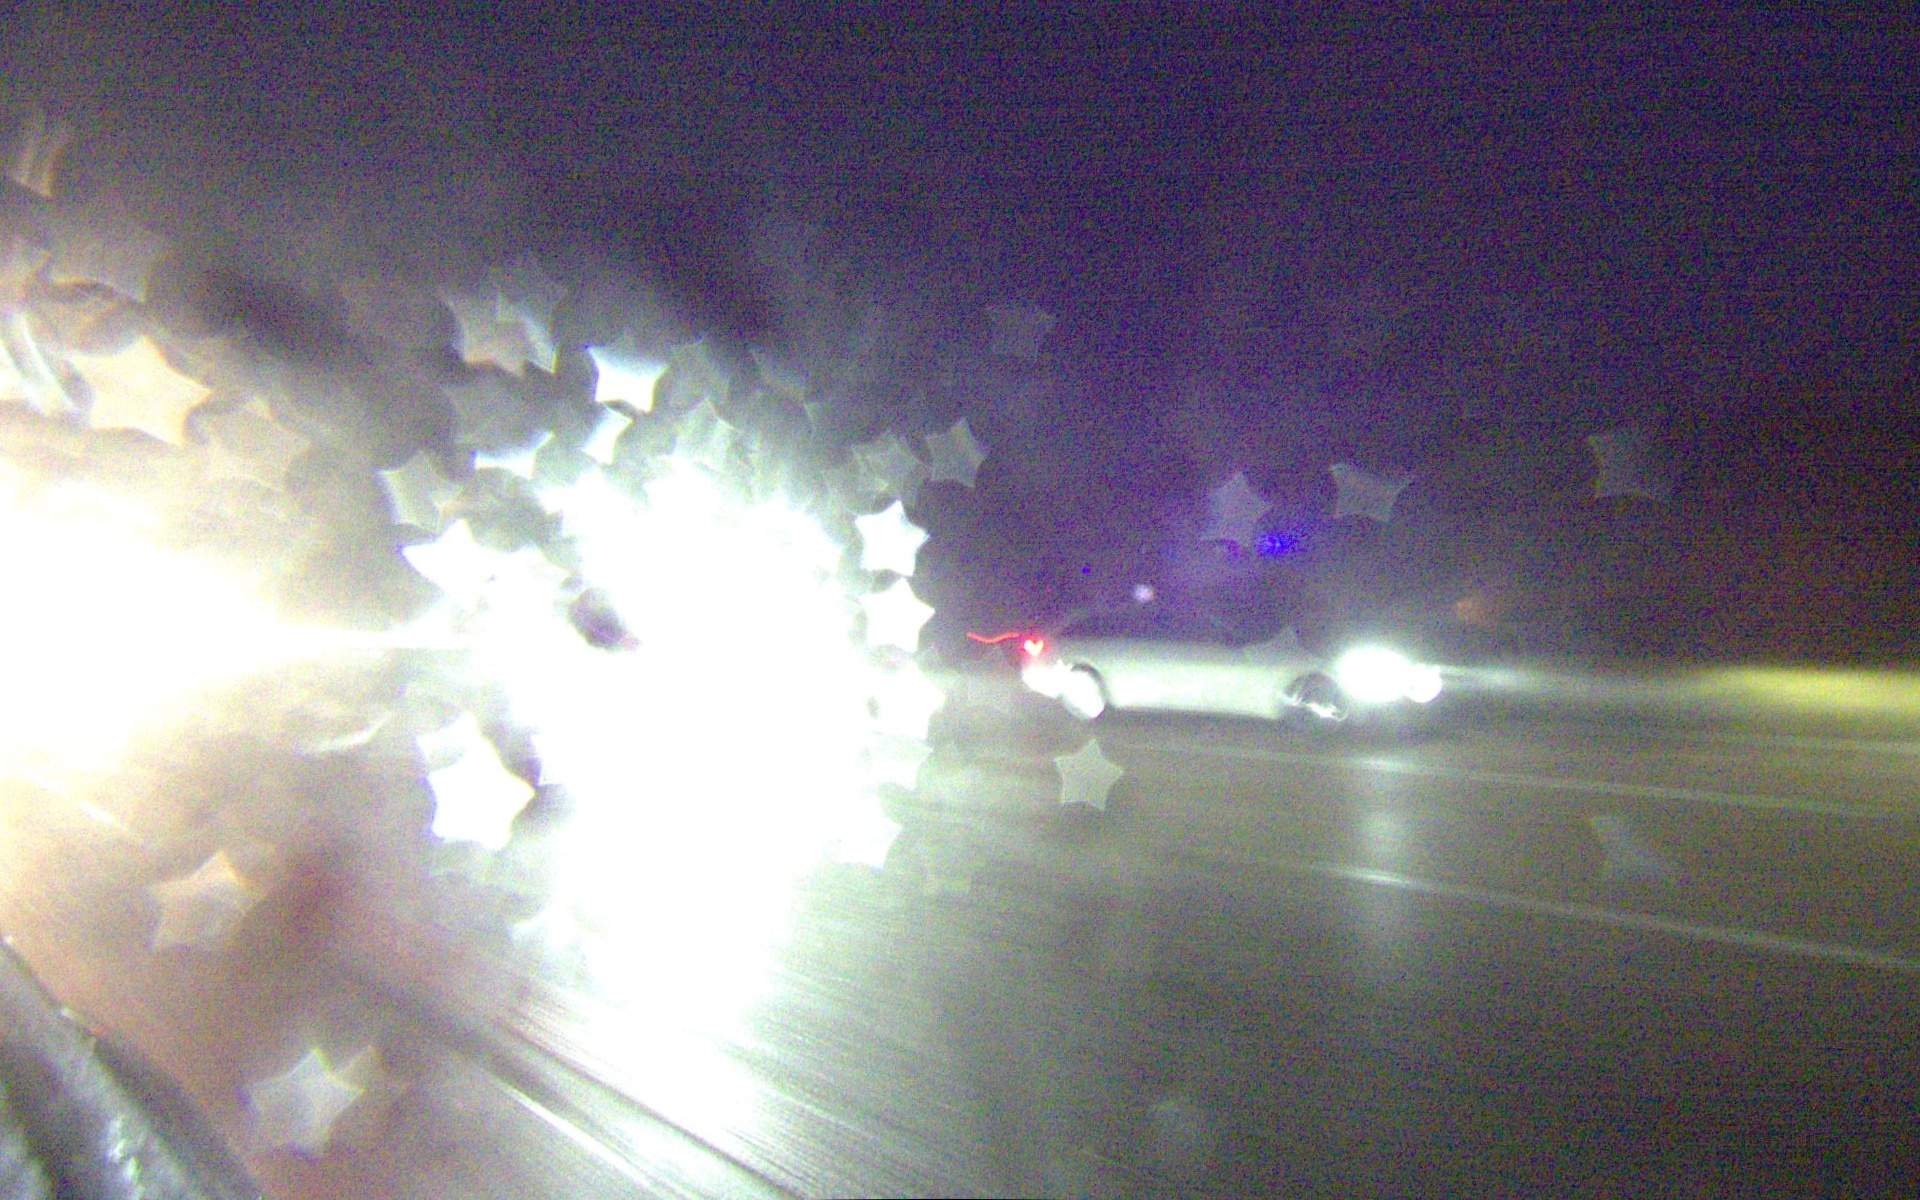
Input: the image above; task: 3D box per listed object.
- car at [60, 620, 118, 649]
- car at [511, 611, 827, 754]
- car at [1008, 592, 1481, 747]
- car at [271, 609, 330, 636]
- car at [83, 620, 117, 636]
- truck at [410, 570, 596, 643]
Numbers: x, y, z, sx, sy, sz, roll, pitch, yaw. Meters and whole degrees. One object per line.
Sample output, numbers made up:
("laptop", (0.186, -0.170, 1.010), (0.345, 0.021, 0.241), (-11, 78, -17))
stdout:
("car", (-50.852, 1.993, 59.069), (4.586, 1.572, 1.972), (-1, 0, 42))
("car", (-3.736, 0.892, 12.683), (3.998, 1.452, 1.973), (-1, 0, 41))
("car", (3.225, 0.697, 12.247), (5.162, 1.487, 1.973), (-1, 0, 41))
("car", (-41.021, 1.385, 62.923), (4.457, 1.569, 1.861), (-1, 0, 40))
("car", (-85.611, 2.757, 100.749), (4.457, 1.569, 1.861), (-1, 0, 40))
("truck", (-27.967, 0.409, 61.041), (17.174, 3.917, 3.463), (-1, 0, 42))
